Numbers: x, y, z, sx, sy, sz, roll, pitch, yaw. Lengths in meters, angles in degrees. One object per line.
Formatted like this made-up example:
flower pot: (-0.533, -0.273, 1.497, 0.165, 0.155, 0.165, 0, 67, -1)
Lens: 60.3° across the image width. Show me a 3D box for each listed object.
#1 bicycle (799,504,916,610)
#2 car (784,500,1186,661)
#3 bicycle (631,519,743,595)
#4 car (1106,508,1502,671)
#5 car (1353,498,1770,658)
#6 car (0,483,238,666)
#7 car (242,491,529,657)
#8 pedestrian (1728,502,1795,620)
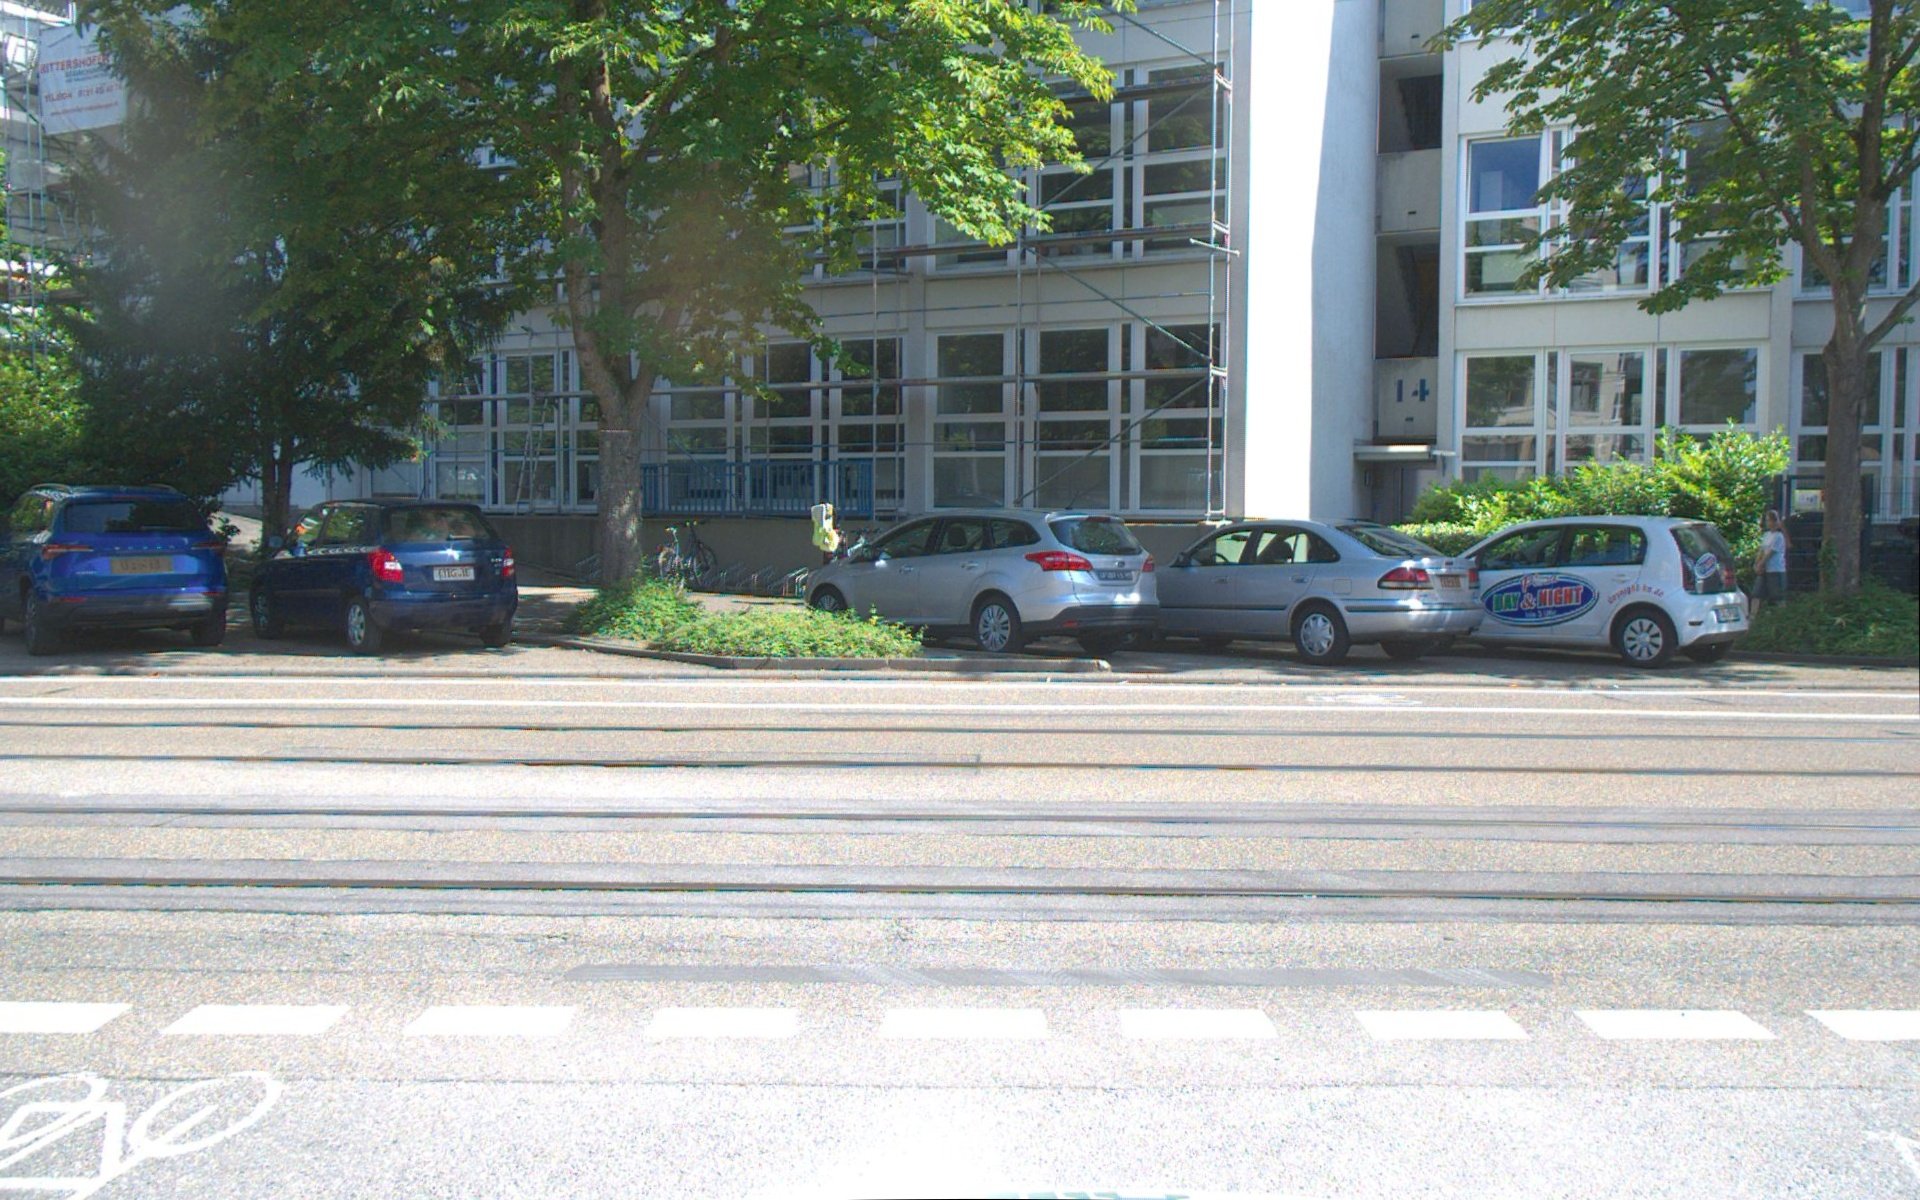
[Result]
bicycle: (-1.475, -0.655, 24.239, 0.649, 1.478, 2.086, 2, 3, 31)
car: (0.148, -0.297, 17.680, 1.771, 1.511, 4.364, -2, 4, -44)
bicycle: (-4.130, -0.677, 25.202, 0.725, 1.104, 2.204, 1, 3, 19)
car: (3.492, -0.203, 17.329, 1.600, 1.511, 3.885, -2, 4, -42)
car: (6.266, -0.276, 17.543, 1.600, 1.511, 3.883, -2, 3, -43)
car: (-9.083, -0.376, 17.335, 1.764, 1.650, 3.890, -3, 6, -39)
car: (-6.066, -0.333, 17.307, 1.565, 1.557, 3.403, -2, 4, -44)
pedestrian: (10.127, -0.496, 20.907, 0.607, 1.486, 0.424, 0, 2, -2)
